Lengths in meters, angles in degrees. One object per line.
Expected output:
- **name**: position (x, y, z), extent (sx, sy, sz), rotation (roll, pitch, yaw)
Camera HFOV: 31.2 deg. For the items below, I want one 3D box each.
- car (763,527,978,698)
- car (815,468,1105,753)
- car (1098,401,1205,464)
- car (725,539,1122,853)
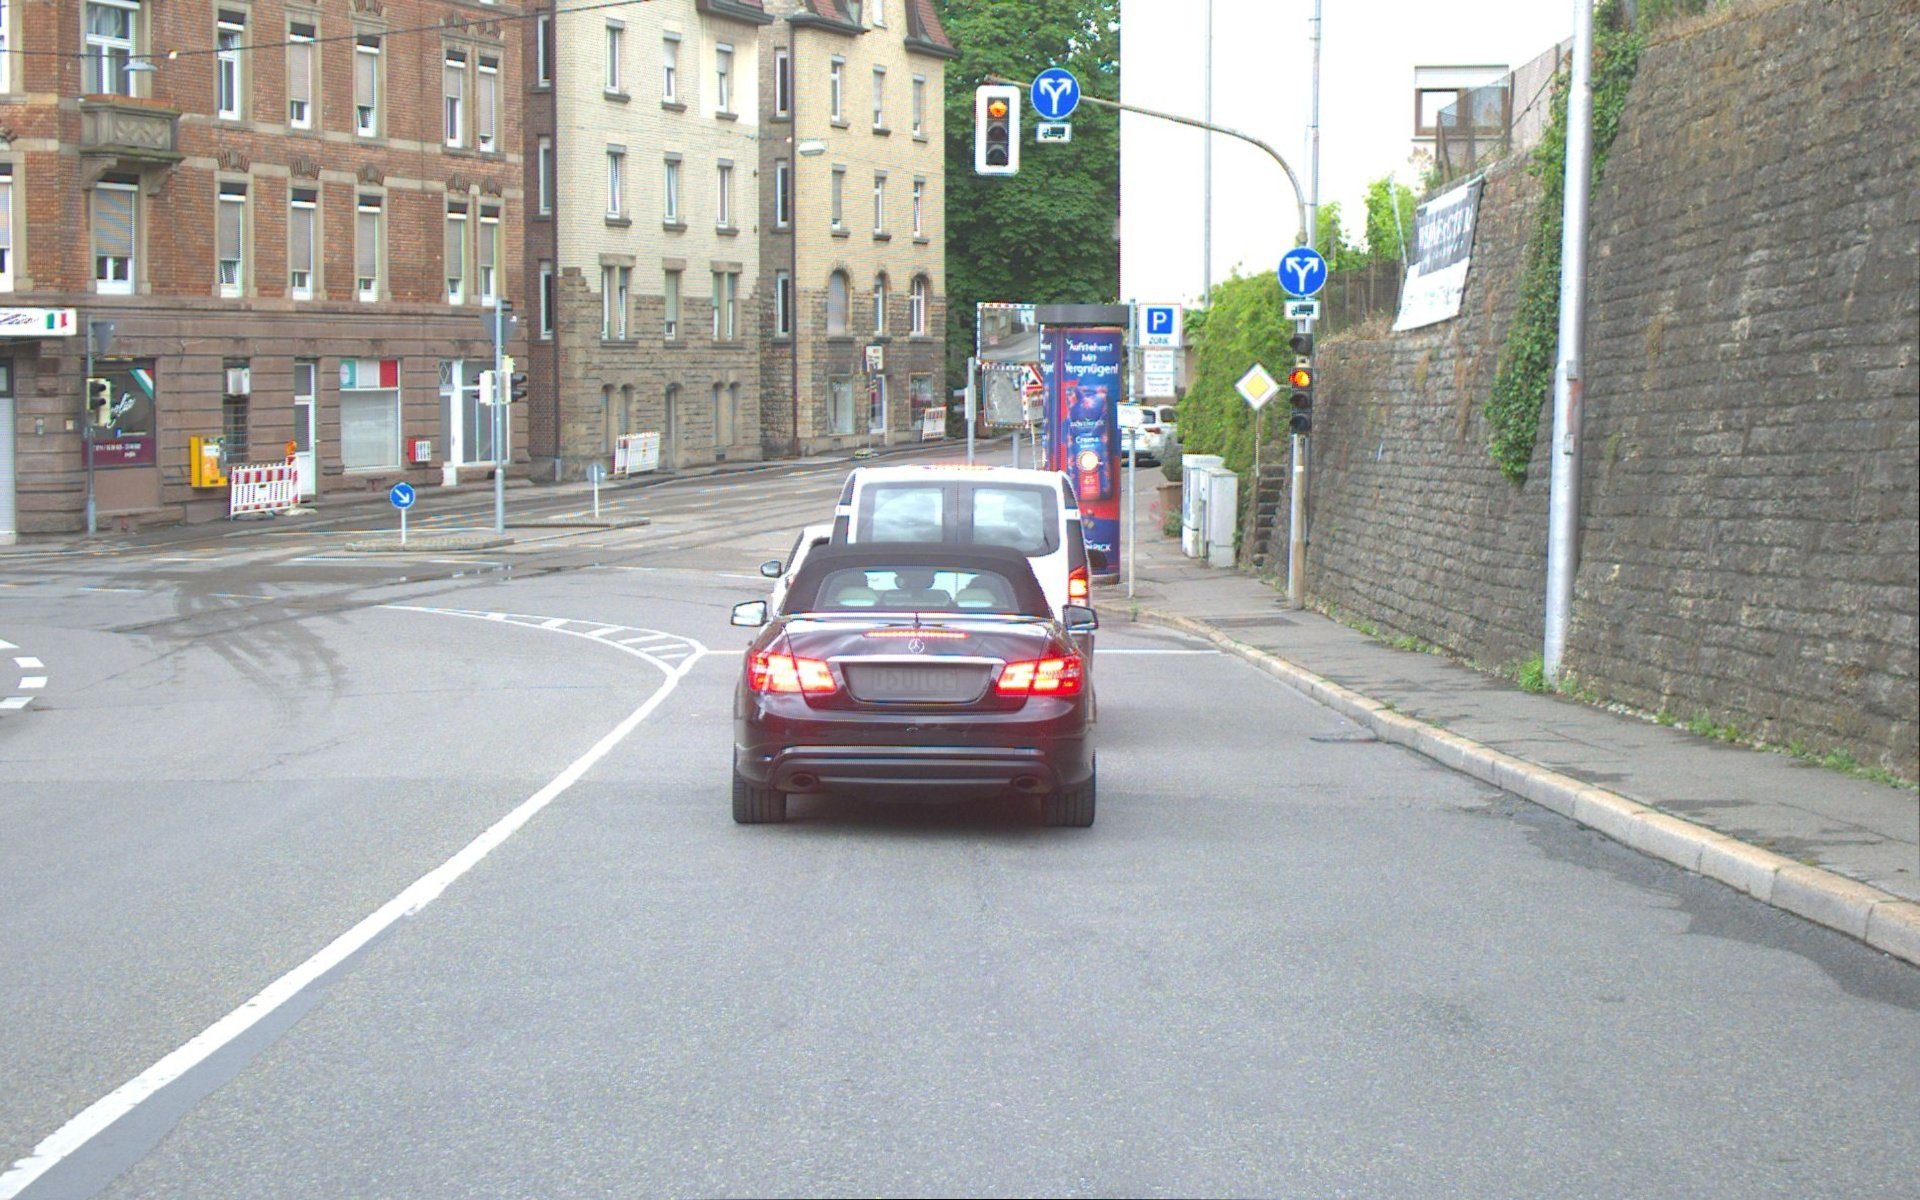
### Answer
- **car**: position (-0.826, 0.065, 31.634), extent (1.841, 1.436, 4.001), rotation (1, 1, -2)
- **car**: position (-0.052, 0.032, 24.892), extent (1.909, 1.877, 4.000), rotation (1, 1, -2)
- **car**: position (5.293, -4.617, 94.650), extent (1.843, 1.696, 3.996), rotation (1, 3, 21)
- **car**: position (-0.223, 0.411, 17.891), extent (1.816, 1.425, 4.000), rotation (1, 1, -2)
